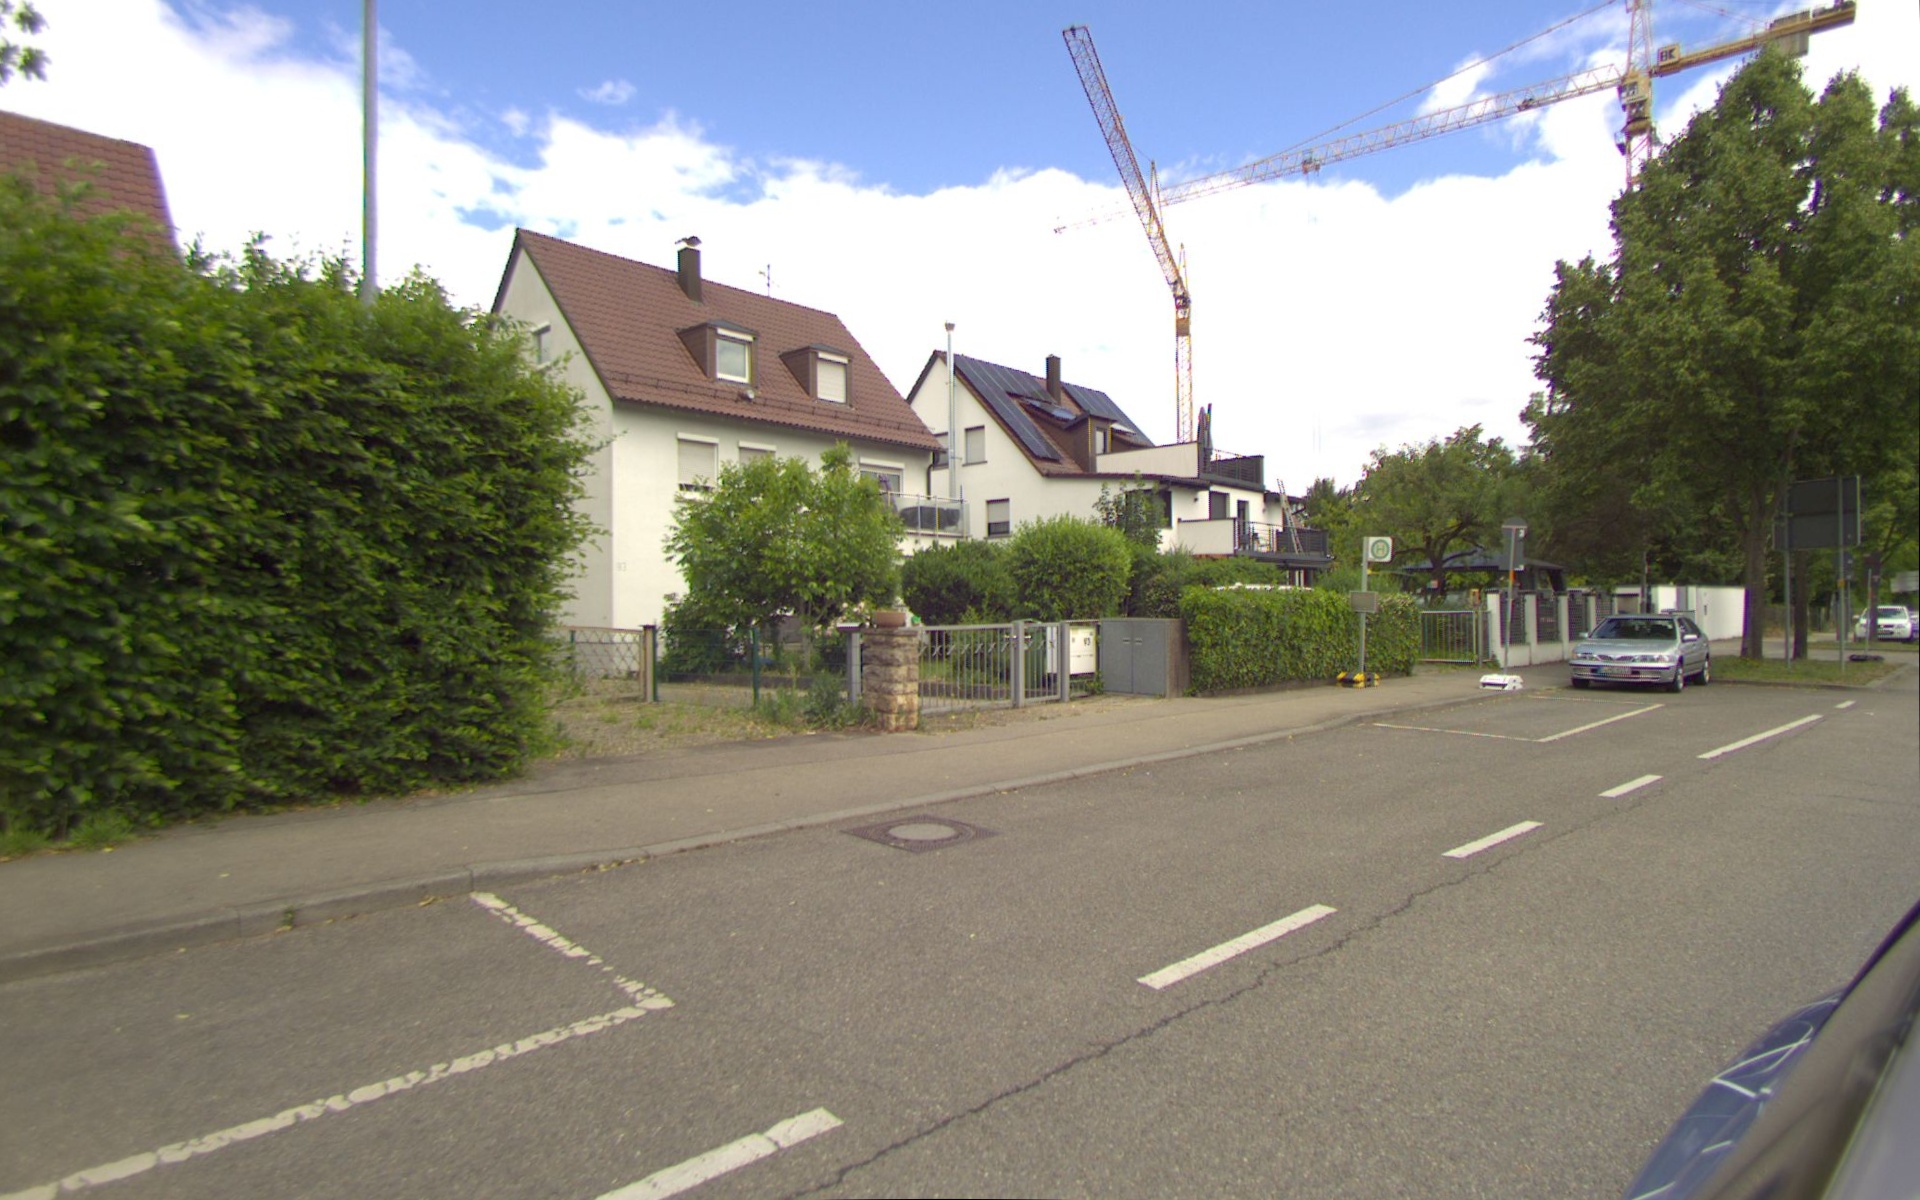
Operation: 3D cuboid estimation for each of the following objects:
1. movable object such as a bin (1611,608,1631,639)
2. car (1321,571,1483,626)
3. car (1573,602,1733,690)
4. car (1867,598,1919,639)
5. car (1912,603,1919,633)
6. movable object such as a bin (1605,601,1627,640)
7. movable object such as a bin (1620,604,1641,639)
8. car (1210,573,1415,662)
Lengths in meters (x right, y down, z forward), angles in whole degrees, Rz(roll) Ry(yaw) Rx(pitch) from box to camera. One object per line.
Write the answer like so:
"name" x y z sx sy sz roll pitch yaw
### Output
"movable object such as a bin" 19.780 0.699 30.287 0.389 0.932 0.437 1 -1 -42
"car" 16.403 -0.050 37.723 5.176 1.927 2.019 -1 0 40
"car" 13.304 0.788 19.326 4.314 1.394 1.613 -2 1 -43
"car" 40.508 0.773 43.545 4.048 1.663 1.902 0 0 -43
"car" 54.606 0.973 56.383 4.606 1.632 1.863 0 -2 -42
"movable object such as a bin" 19.403 0.606 29.925 0.447 1.124 0.437 1 -1 -42
"movable object such as a bin" 20.267 0.639 30.586 0.447 1.035 0.437 1 -1 -42
"car" 7.984 0.366 23.147 1.968 1.846 3.988 0 -1 -45
